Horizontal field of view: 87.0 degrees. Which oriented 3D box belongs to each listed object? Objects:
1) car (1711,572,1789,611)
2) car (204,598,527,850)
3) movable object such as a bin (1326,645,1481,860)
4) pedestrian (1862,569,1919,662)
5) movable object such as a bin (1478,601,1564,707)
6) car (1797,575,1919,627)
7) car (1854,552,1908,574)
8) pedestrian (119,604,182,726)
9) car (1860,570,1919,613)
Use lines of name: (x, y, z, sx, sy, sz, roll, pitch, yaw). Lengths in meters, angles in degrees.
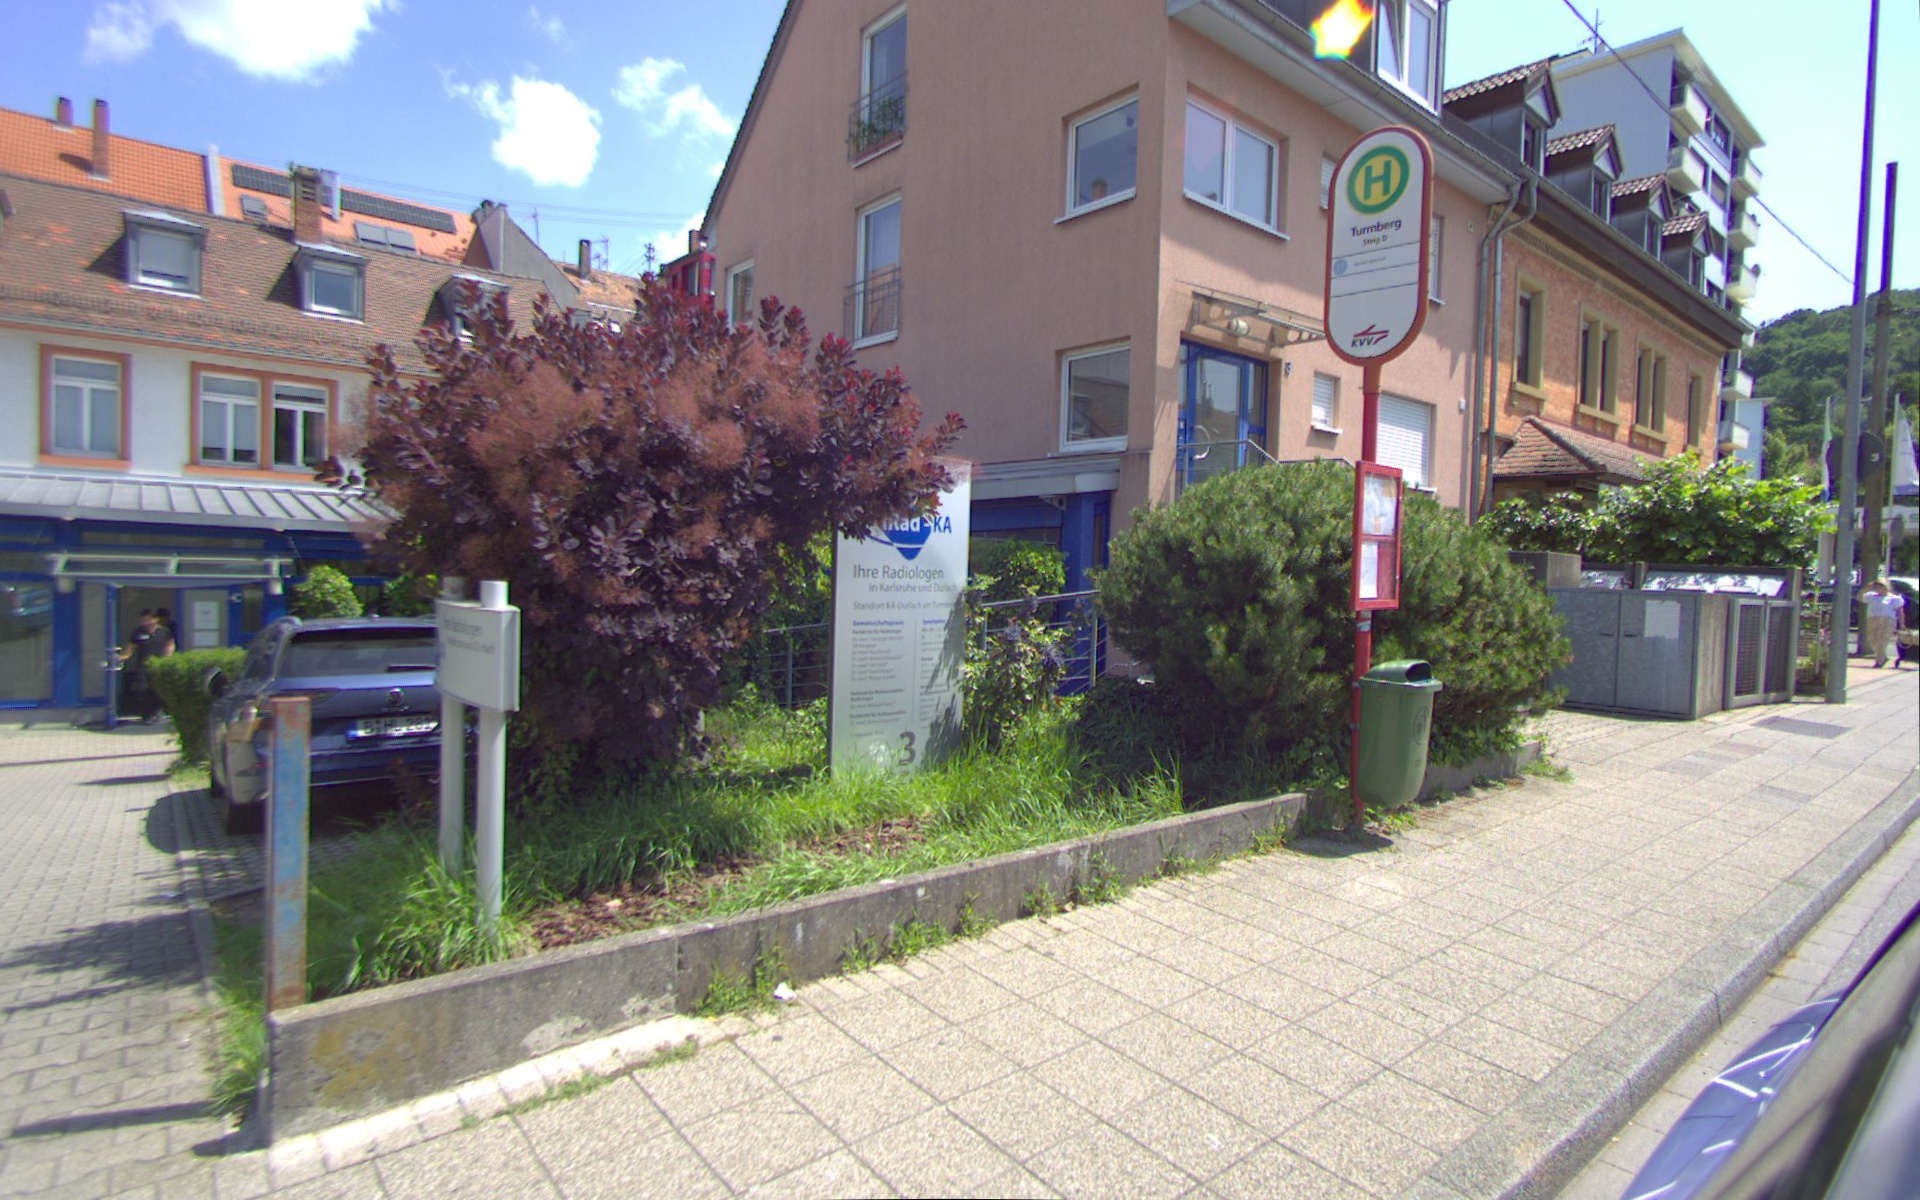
car: (35.179, -0.405, 45.015, 4.621, 1.646, 1.750, -1, 2, -39)
car: (-4.908, 0.853, 8.040, 1.691, 1.444, 4.141, -1, -4, -38)
movable object such as a bin: (2.241, 0.729, 5.106, 0.717, 0.917, 0.407, -2, 7, -43)
pedestrian: (17.476, 0.278, 18.992, 0.704, 1.661, 0.650, 4, 2, 41)
movable object such as a bin: (5.987, 0.555, 10.797, 0.656, 1.058, 0.623, -2, 1, -41)
car: (30.304, 0.006, 33.515, 3.868, 1.561, 1.818, 3, 3, 38)
car: (91.461, -3.653, 100.489, 5.273, 2.038, 2.405, -2, 1, -29)
pedestrian: (-12.576, 0.990, 15.748, 0.675, 1.813, 0.595, -1, 1, -33)
car: (41.409, -0.389, 43.394, 1.788, 1.812, 4.291, -1, 1, -1)
